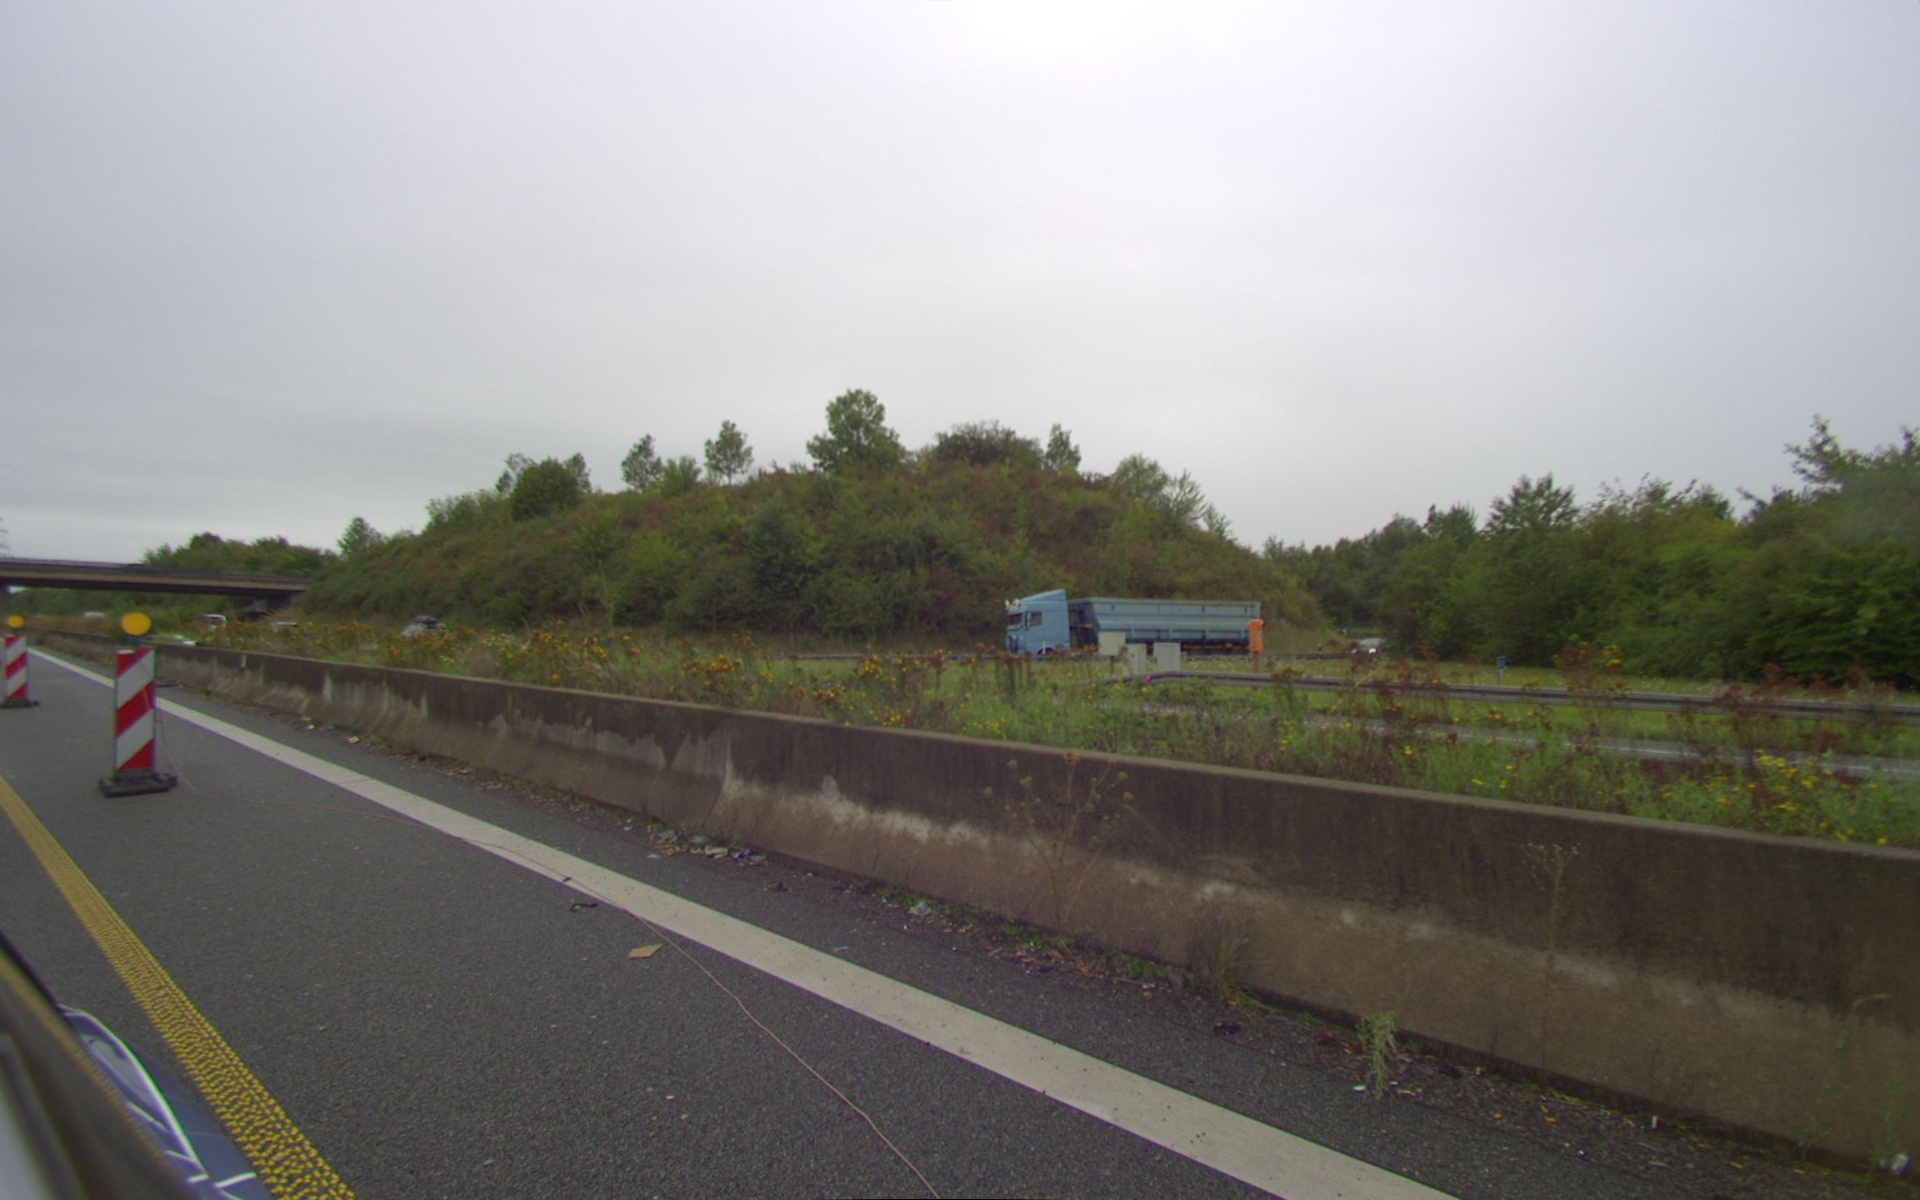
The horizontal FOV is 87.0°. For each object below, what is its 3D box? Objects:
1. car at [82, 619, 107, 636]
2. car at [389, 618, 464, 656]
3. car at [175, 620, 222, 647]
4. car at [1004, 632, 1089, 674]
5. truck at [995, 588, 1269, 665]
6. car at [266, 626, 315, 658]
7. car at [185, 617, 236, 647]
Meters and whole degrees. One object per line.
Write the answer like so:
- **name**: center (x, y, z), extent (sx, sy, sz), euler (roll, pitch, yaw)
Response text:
- **car**: center (-121.780, 3.893, 142.337), extent (2.214, 2.459, 5.886), euler (2, -3, -45)
- **car**: center (-26.571, 1.838, 50.353), extent (4.228, 1.803, 1.972), euler (-2, -3, 42)
- **car**: center (-49.140, 2.147, 65.307), extent (4.002, 1.662, 1.847), euler (-2, -3, 45)
- **car**: center (4.300, 2.651, 50.802), extent (3.938, 2.029, 2.002), euler (1, -2, -6)
- **truck**: center (9.018, 1.442, 52.120), extent (14.327, 3.647, 2.910), euler (1, -2, -20)
- **car**: center (-35.381, 2.184, 53.433), extent (3.662, 1.543, 1.436), euler (0, 0, 44)
- **car**: center (-48.606, 2.054, 65.612), extent (4.000, 1.815, 1.972), euler (0, 0, 43)
